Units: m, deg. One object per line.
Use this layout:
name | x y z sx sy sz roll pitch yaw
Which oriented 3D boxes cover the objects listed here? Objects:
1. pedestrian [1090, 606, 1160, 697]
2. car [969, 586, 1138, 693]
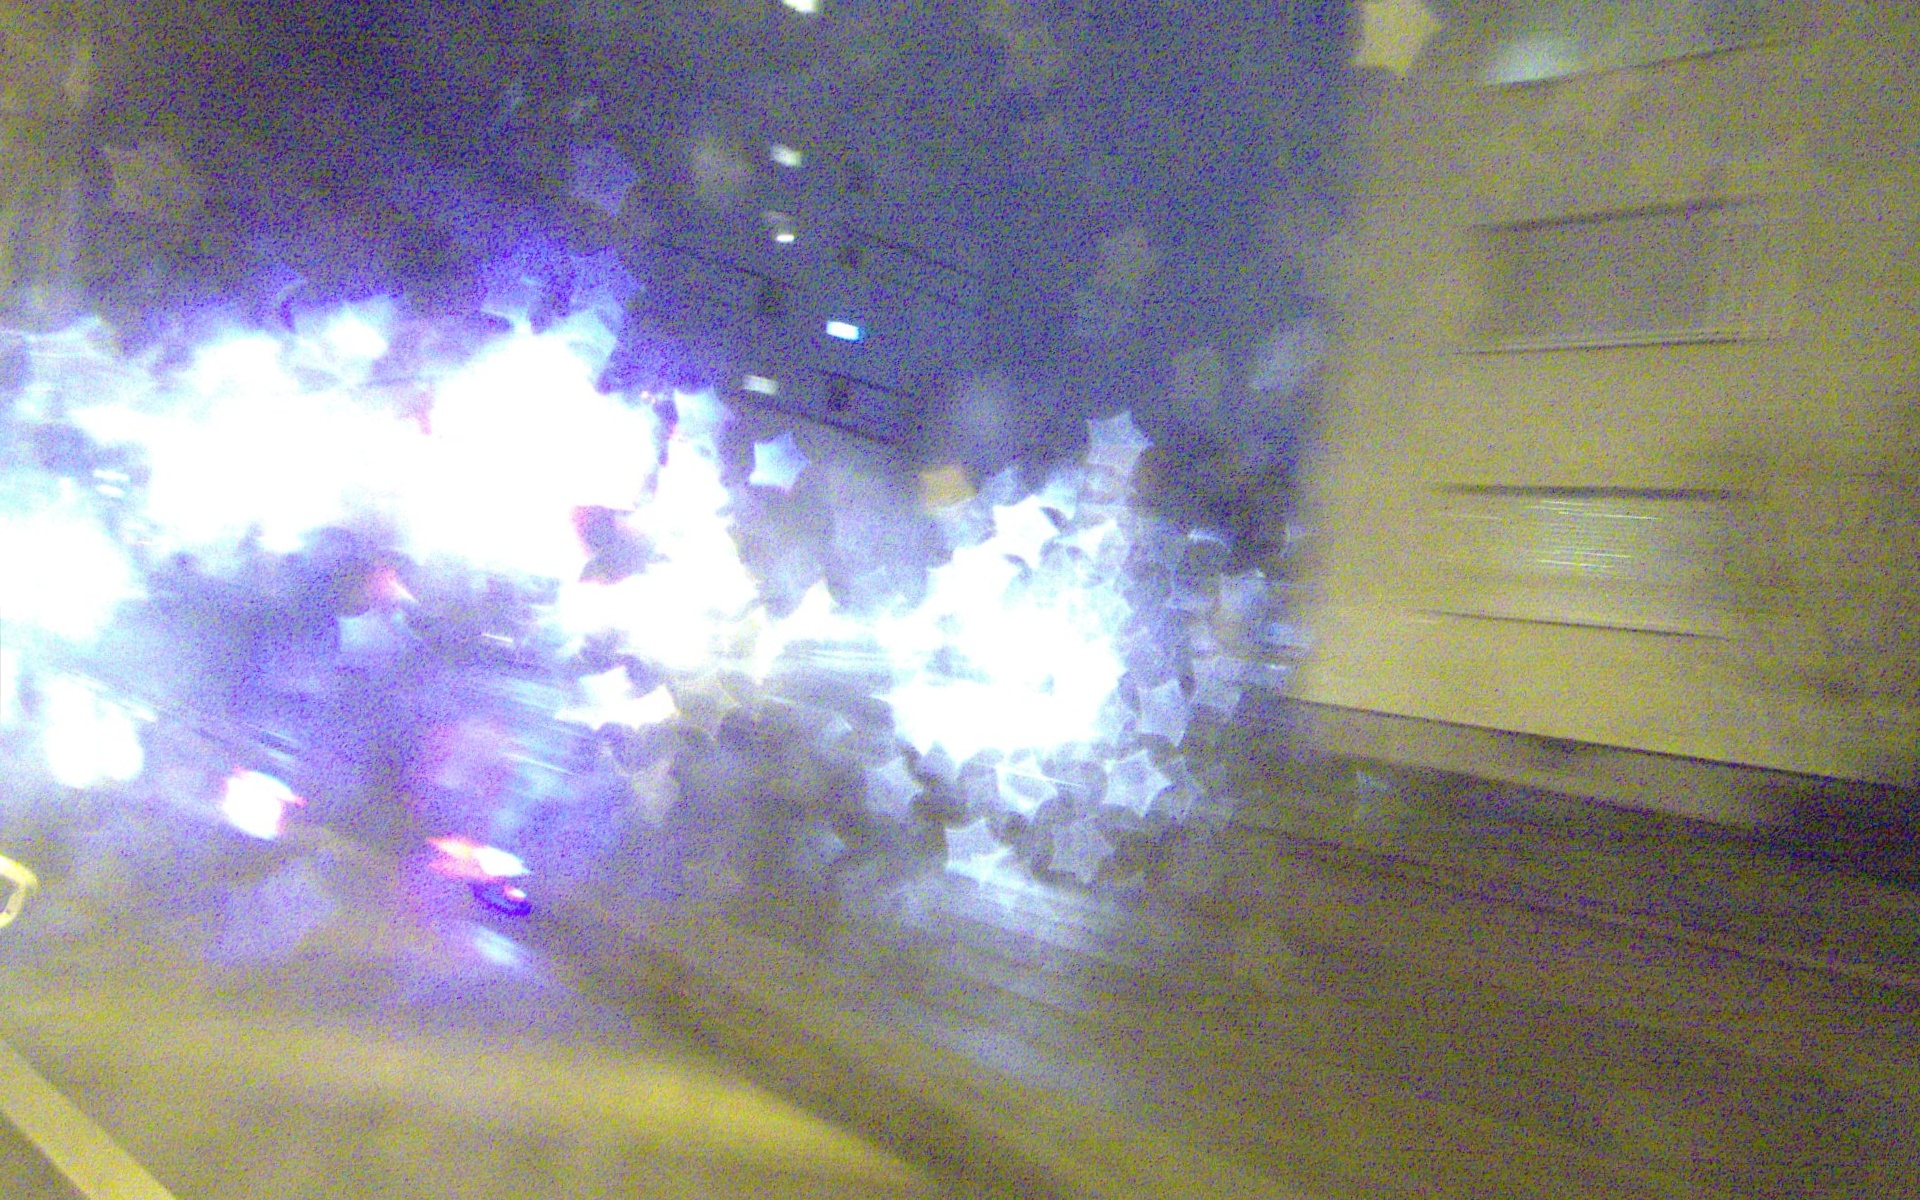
pedestrian | 3.443 1.084 20.990 0.861 1.759 1.083 7 1 37
car | 2.111 0.887 21.575 1.896 1.894 3.991 7 0 31
